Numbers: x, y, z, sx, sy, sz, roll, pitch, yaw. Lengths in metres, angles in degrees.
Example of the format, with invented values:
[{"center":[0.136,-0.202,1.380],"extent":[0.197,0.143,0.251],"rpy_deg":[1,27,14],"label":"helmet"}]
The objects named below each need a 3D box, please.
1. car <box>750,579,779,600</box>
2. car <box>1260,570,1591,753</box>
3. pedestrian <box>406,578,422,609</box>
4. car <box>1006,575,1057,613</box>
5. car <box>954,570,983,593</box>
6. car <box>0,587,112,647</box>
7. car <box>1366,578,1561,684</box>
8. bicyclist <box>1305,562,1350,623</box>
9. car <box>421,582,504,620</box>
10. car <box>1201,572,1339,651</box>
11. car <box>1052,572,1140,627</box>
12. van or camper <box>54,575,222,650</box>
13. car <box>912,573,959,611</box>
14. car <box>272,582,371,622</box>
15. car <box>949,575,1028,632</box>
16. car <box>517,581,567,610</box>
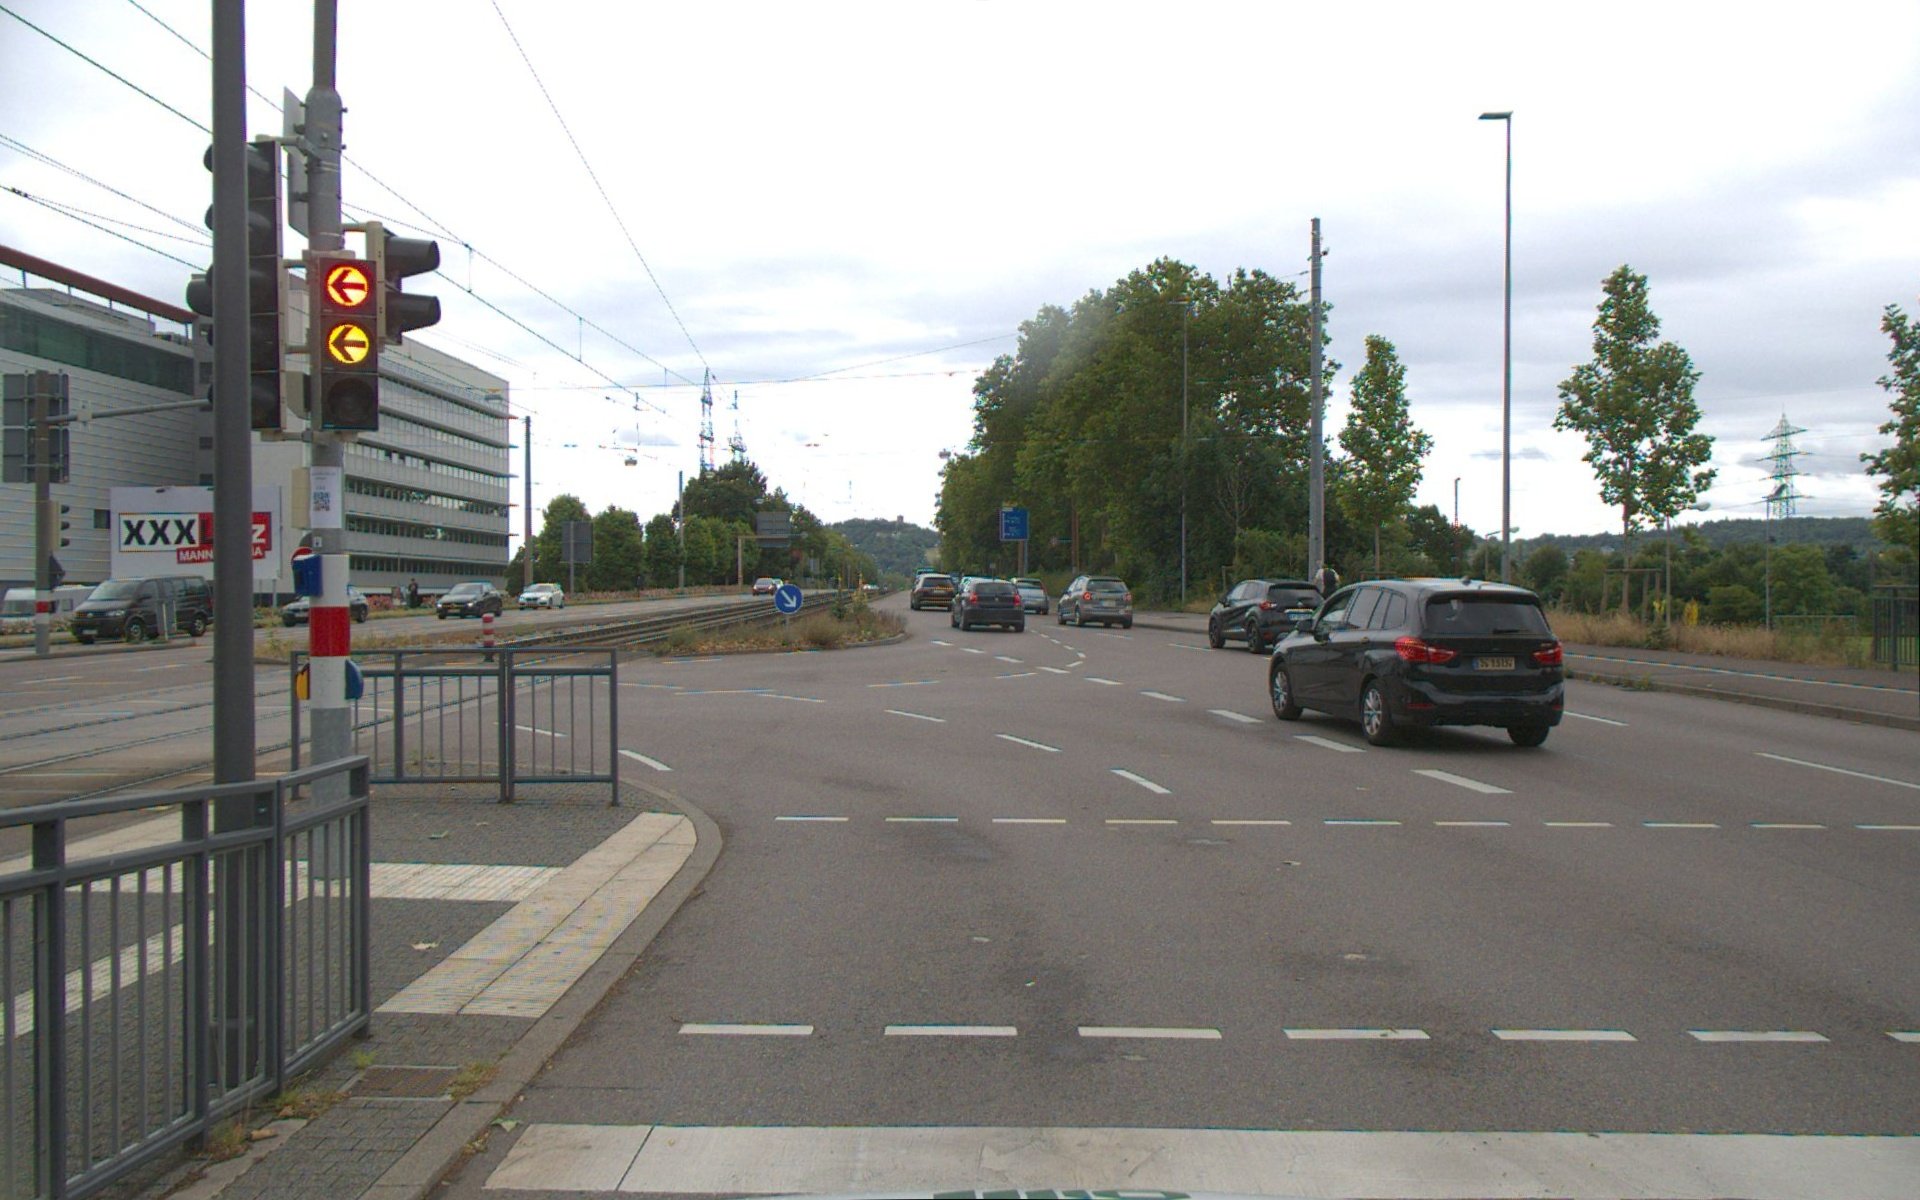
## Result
[{"center":[-16.699,-0.902,141.697],"extent":[1.953,1.758,4.000],"rpy_deg":[1,1,0],"label":"car"},{"center":[4.692,0.541,17.369],"extent":[1.797,1.665,4.310],"rpy_deg":[0,1,-8],"label":"car"},{"center":[-30.073,-0.357,91.113],"extent":[0.667,1.718,0.561],"rpy_deg":[1,-1,3],"label":"pedestrian"},{"center":[2.936,-0.253,68.567],"extent":[1.779,1.506,3.670],"rpy_deg":[1,0,-3],"label":"car"},{"center":[0.577,-1.261,115.075],"extent":[1.779,1.506,3.670],"rpy_deg":[1,0,-3],"label":"car"},{"center":[-48.493,0.869,88.201],"extent":[2.702,3.042,6.953],"rpy_deg":[1,0,2],"label":"car"},{"center":[8.018,0.447,26.654],"extent":[1.695,1.535,3.628],"rpy_deg":[1,1,-7],"label":"car"},{"center":[9.388,-0.201,42.272],"extent":[0.802,1.504,0.997],"rpy_deg":[-2,2,-11],"label":"bicyclist"},{"center":[-20.701,0.010,68.977],"extent":[1.792,1.489,4.211],"rpy_deg":[1,1,6],"label":"car"},{"center":[6.797,0.229,36.760],"extent":[1.821,1.589,4.312],"rpy_deg":[2,0,-6],"label":"car"},{"center":[4.233,-0.019,52.127],"extent":[1.822,1.589,4.309],"rpy_deg":[2,0,-8],"label":"car"},{"center":[-25.420,0.331,51.365],"extent":[2.072,2.048,4.758],"rpy_deg":[-3,1,12],"label":"van or camper"},{"center":[-1.034,-0.318,67.683],"extent":[1.779,1.506,3.670],"rpy_deg":[1,0,-3],"label":"car"},{"center":[-24.256,0.063,63.008],"extent":[1.921,1.489,4.323],"rpy_deg":[0,0,3],"label":"car"},{"center":[0.736,0.068,45.463],"extent":[1.713,1.456,3.371],"rpy_deg":[1,1,-7],"label":"car"},{"center":[-23.483,-0.246,93.000],"extent":[1.692,1.566,4.047],"rpy_deg":[1,1,1],"label":"car"}]
